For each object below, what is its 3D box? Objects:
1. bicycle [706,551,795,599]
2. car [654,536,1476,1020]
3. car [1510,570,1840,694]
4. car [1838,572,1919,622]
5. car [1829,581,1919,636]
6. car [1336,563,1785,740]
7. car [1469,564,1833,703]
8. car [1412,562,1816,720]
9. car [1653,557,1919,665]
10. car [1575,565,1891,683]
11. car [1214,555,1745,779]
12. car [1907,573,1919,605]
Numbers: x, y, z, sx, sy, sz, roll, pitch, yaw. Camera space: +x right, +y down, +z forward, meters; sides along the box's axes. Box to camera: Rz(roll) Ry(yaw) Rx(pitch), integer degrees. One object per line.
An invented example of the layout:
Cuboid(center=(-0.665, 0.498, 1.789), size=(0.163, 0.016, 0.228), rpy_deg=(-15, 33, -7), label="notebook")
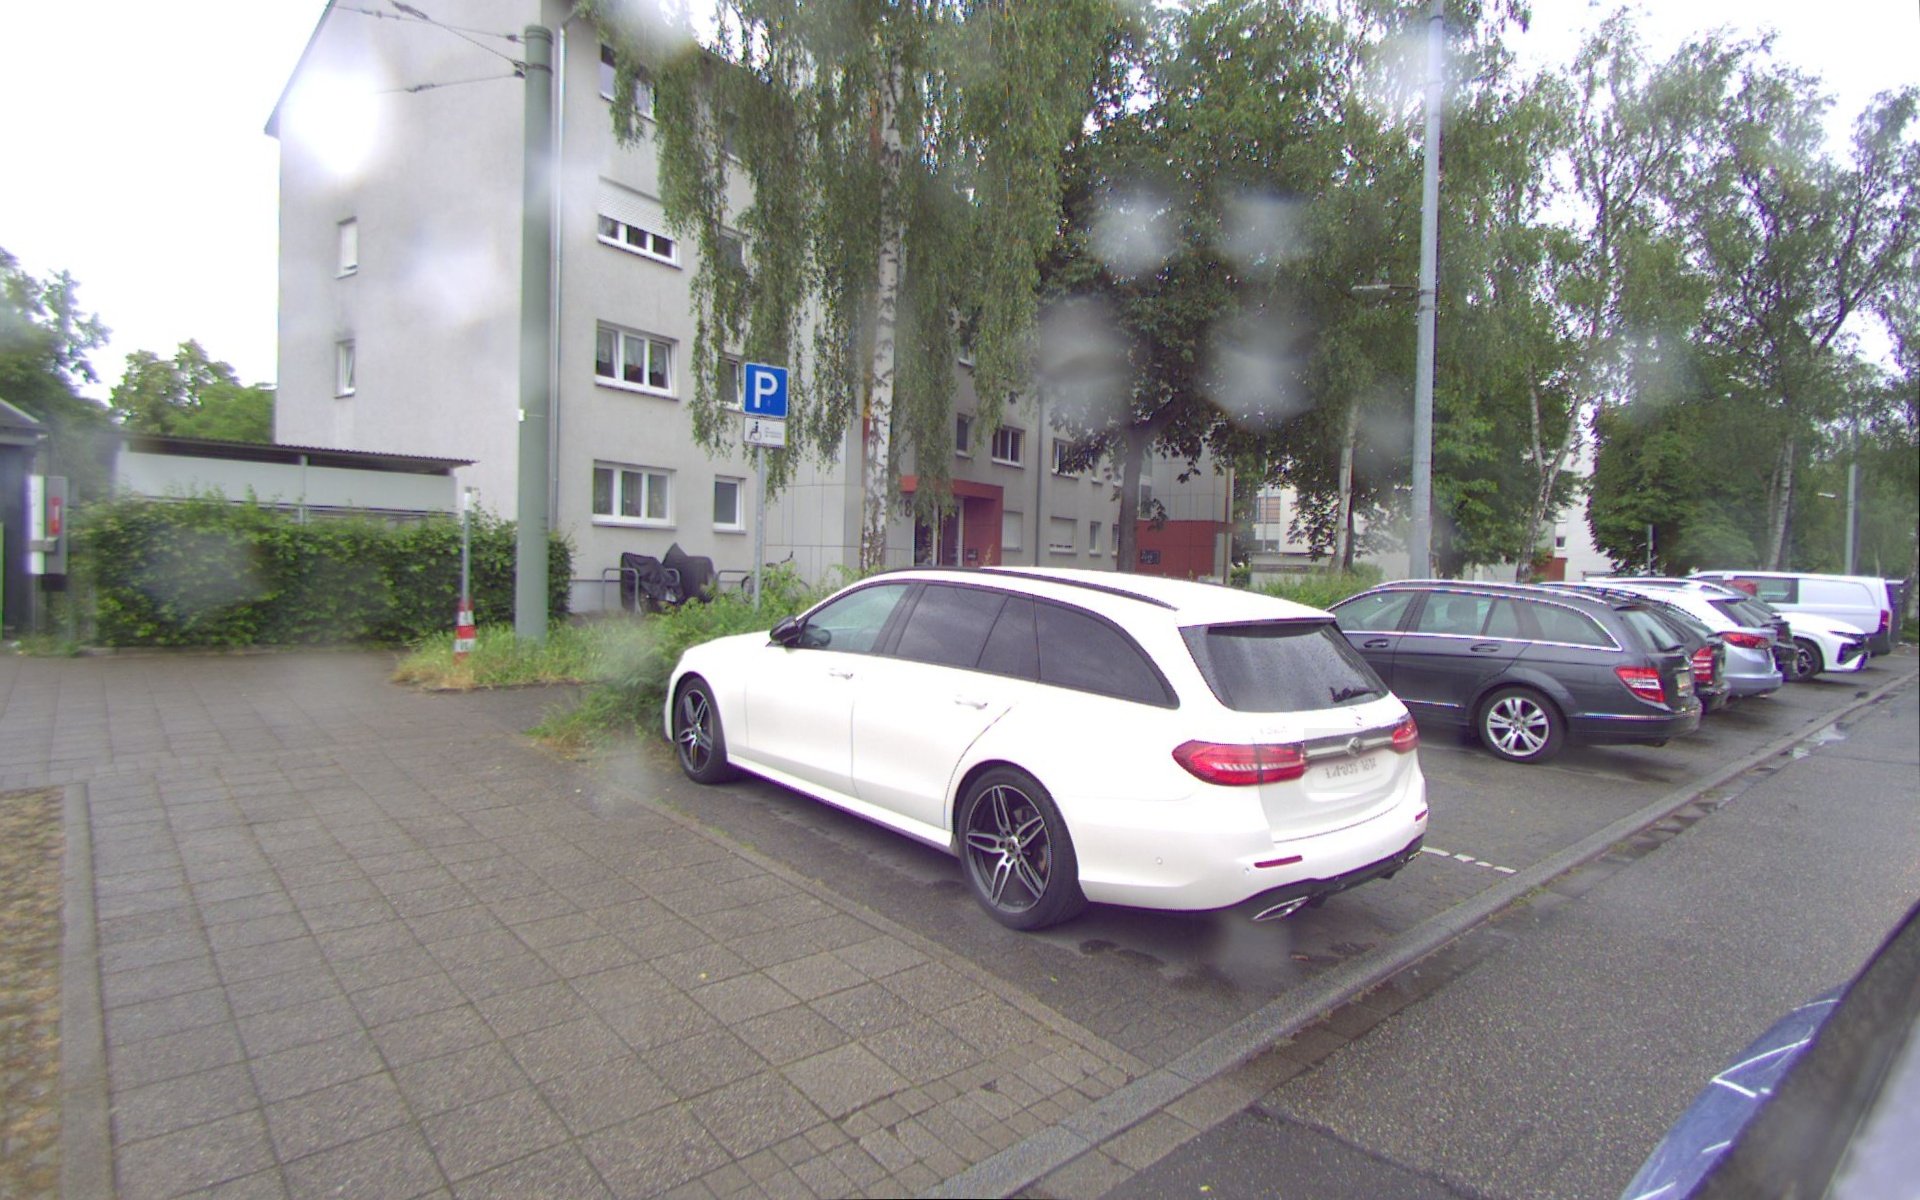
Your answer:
Cuboid(center=(-4.523, -0.531, 21.967), size=(0.701, 1.005, 1.918), rpy_deg=(0, 0, 37), label="bicycle")
Cuboid(center=(0.081, 0.472, 5.609), size=(1.651, 1.456, 4.622), rpy_deg=(-1, 5, -41), label="car")
Cuboid(center=(11.382, 0.401, 16.327), size=(1.653, 1.514, 4.044), rpy_deg=(-1, 5, -43), label="car")
Cuboid(center=(37.752, -0.135, 40.219), size=(1.866, 1.937, 3.998), rpy_deg=(-1, 0, -36), label="car")
Cuboid(center=(34.426, 0.276, 36.797), size=(1.866, 1.937, 3.998), rpy_deg=(-1, 0, -36), label="car")
Cuboid(center=(6.633, 0.415, 11.524), size=(1.653, 1.456, 4.044), rpy_deg=(-1, 5, -43), label="car")
Cuboid(center=(9.856, 0.357, 14.673), size=(1.653, 1.514, 4.044), rpy_deg=(-1, 5, -43), label="car")
Cuboid(center=(8.248, 0.385, 13.045), size=(1.653, 1.514, 4.044), rpy_deg=(-1, 5, -43), label="car")
Cuboid(center=(17.545, 0.139, 21.657), size=(4.172, 1.888, 1.654), rpy_deg=(6, 5, 43), label="car")
Cuboid(center=(13.701, 0.323, 18.167), size=(1.651, 1.637, 4.181), rpy_deg=(0, 5, -40), label="car")
Cuboid(center=(4.610, 0.417, 9.453), size=(1.653, 1.456, 4.044), rpy_deg=(-1, 5, -43), label="car")
Cuboid(center=(53.233, -0.583, 53.771), size=(1.866, 1.701, 3.998), rpy_deg=(-1, 1, -36), label="car")
